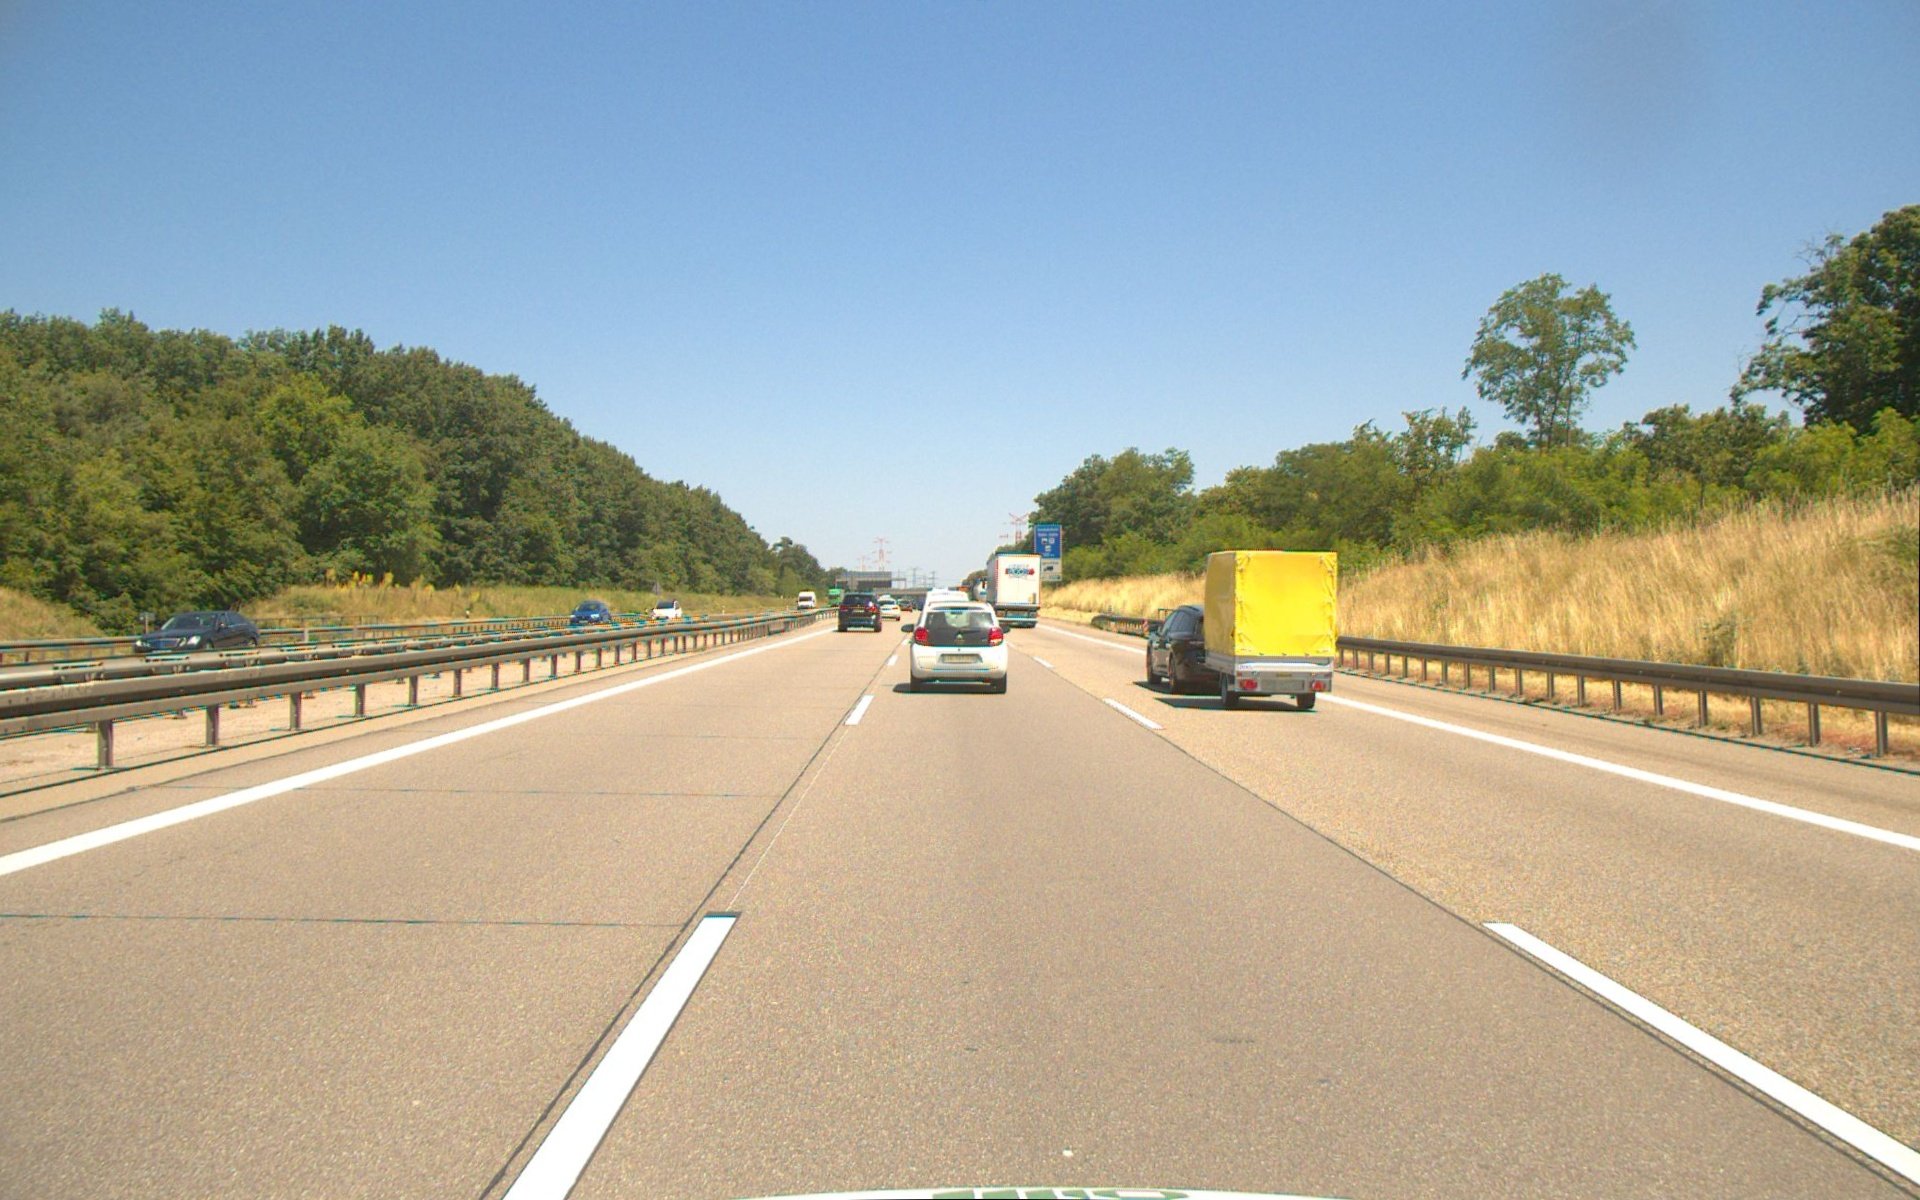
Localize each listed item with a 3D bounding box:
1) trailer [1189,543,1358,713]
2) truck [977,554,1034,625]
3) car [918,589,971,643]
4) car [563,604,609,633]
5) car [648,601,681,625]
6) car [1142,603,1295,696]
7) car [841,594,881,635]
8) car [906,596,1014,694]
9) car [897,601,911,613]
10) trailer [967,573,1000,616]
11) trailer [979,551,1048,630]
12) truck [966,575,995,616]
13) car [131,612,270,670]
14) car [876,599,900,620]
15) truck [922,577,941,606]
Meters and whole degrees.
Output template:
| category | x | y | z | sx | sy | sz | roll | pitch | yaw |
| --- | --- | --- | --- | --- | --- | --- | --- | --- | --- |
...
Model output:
| category | x | y | z | sx | sy | sz | roll | pitch | yaw |
| --- | --- | --- | --- | --- | --- | --- | --- | --- | --- |
| trailer | 4.613 | 0.386 | 24.835 | 1.669 | 2.330 | 3.838 | 1 | 0 | -2 |
| truck | 2.831 | -0.606 | 104.363 | 3.219 | 4.293 | 6.005 | 1 | 0 | -1 |
| car | -0.585 | 0.562 | 58.868 | 1.777 | 1.859 | 5.109 | 0 | 0 | -1 |
| car | -21.869 | 1.080 | 96.792 | 1.667 | 1.572 | 4.534 | -3 | 0 | -1 |
| car | -22.419 | 0.991 | 125.579 | 1.667 | 1.690 | 5.115 | -3 | 0 | -1 |
| car | 4.447 | 0.805 | 29.166 | 1.784 | 1.481 | 4.786 | 1 | 0 | -2 |
| car | -4.459 | 0.656 | 74.985 | 1.593 | 1.785 | 3.804 | 1 | 0 | -1 |
| car | -0.031 | 0.706 | 28.111 | 1.673 | 1.521 | 4.023 | 1 | 0 | -1 |
| car | -6.773 | 0.834 | 199.792 | 1.574 | 1.323 | 3.673 | 1 | 0 | -1 |
| trailer | 2.213 | -0.463 | 160.012 | 2.628 | 3.904 | 12.006 | 1 | 0 | -1 |
| trailer | 2.995 | -0.476 | 97.591 | 3.219 | 4.293 | 13.560 | 1 | 0 | -1 |
| truck | 2.067 | -0.432 | 165.707 | 2.628 | 3.904 | 4.442 | 1 | -1 | -2 |
| car | -21.125 | 1.109 | 46.240 | 1.641 | 1.389 | 4.888 | -3 | 0 | -1 |
| car | -4.910 | 0.626 | 113.034 | 1.635 | 1.426 | 3.711 | 0 | 0 | -2 |
| truck | -3.031 | -0.904 | 176.296 | 2.018 | 2.965 | 7.001 | 0 | 0 | -1 |
